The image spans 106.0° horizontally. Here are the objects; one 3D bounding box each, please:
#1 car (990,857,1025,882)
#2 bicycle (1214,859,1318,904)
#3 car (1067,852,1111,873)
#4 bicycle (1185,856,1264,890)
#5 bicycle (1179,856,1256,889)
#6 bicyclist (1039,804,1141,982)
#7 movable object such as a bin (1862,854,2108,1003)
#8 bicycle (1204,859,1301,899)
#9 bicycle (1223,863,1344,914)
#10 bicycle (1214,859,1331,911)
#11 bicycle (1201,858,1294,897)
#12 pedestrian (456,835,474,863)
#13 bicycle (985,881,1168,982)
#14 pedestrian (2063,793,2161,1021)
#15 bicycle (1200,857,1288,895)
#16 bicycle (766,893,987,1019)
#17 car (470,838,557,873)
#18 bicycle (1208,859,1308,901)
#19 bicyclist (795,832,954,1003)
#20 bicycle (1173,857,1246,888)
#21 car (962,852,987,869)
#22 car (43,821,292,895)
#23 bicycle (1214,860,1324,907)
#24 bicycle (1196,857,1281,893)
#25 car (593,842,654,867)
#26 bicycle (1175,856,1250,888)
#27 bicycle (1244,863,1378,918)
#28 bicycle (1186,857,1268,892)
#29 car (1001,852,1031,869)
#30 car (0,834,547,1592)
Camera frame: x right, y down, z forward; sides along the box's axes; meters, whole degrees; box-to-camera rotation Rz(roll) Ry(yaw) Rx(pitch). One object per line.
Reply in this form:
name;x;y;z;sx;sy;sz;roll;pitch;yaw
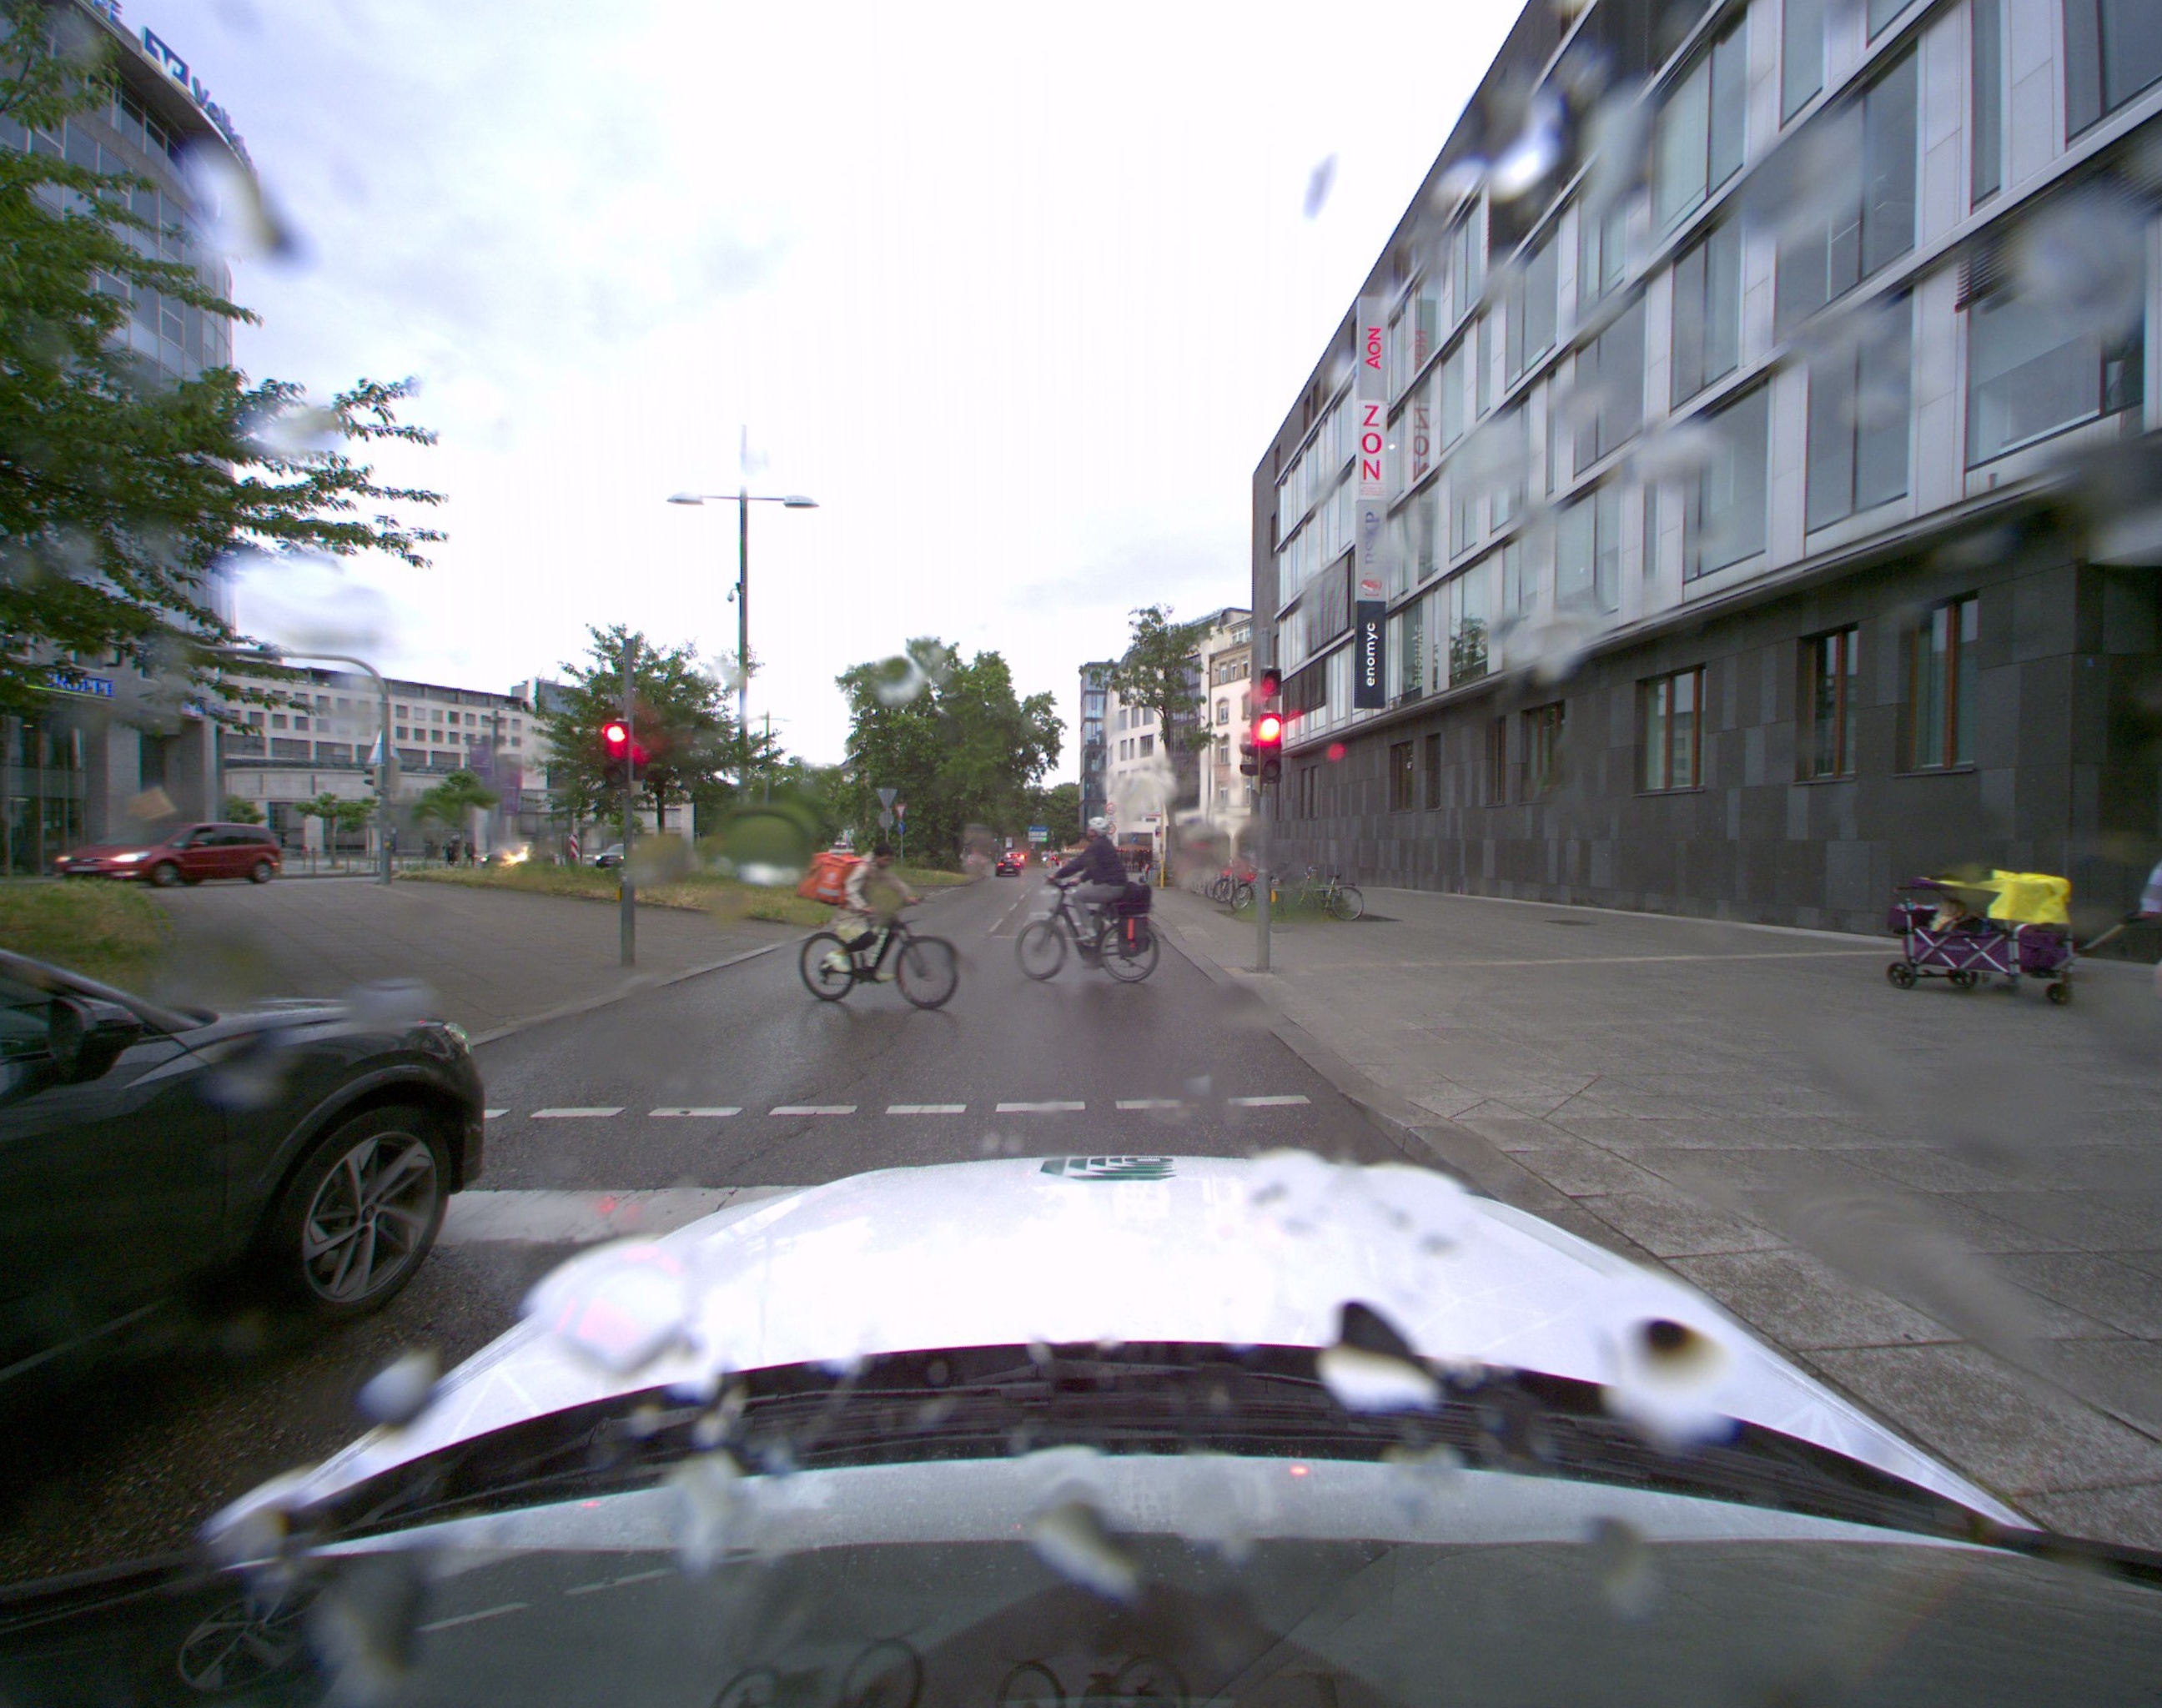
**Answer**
car;-5.567;1.130;60.966;2.163;1.706;4.537;0;0;-11
bicycle;4.721;0.688;20.850;2.530;1.087;0.677;-1;0;-3
car;0.741;0.791;76.670;3.978;1.647;1.998;4;0;-3
bicycle;4.778;0.637;27.206;2.530;1.087;0.677;-1;0;-3
bicycle;4.682;0.626;28.098;2.530;1.087;0.677;-1;0;-3
bicyclist;0.127;0.462;10.003;1.074;2.083;0.766;-1;-1;14
movable object such as a bin;8.621;0.653;7.859;0.729;1.264;1.444;-2;0;-1
bicycle;4.723;0.686;22.528;2.530;1.060;0.677;-1;0;-3
bicycle;4.449;0.747;17.970;2.530;1.087;0.677;0;0;-3
bicycle;4.397;0.707;18.776;2.530;1.087;0.677;2;0;-3
bicycle;4.781;0.670;23.437;2.530;1.087;0.677;-1;0;-3
pedestrian;-39.671;-0.338;52.477;0.621;1.763;0.722;-2;0;-16
bicycle;-0.039;0.917;10.042;2.111;1.145;0.766;-1;-1;13
pedestrian;8.921;0.399;6.483;0.898;1.792;1.045;-2;0;-4
bicycle;4.911;0.655;24.631;2.530;1.087;0.677;-1;0;-3
bicycle;-2.118;0.987;8.424;2.041;1.114;1.018;-1;-2;28
car;-26.493;0.055;38.178;1.805;1.486;3.985;2;0;-11
bicycle;4.690;0.684;21.662;2.530;1.087;0.677;-1;0;-3
bicyclist;-2.111;0.603;8.406;1.122;1.582;1.021;2;0;28
bicycle;4.647;0.648;29.569;2.530;1.087;0.627;-1;0;-3
car;-10.717;0.647;81.862;1.949;1.646;4.222;0;0;-16
car;-23.585;0.085;21.350;1.723;1.727;4.572;0;0;-7
bicycle;4.595;0.709;19.998;2.530;1.087;0.677;-1;0;-3
bicycle;4.931;0.653;25.610;2.530;1.087;0.677;-1;0;-3
car;-28.670;0.024;51.155;1.803;1.486;4.372;2;0;-8
bicycle;4.659;0.639;28.846;2.530;1.087;0.677;-1;0;-3
bicycle;4.628;0.734;16.488;2.530;1.057;0.677;0;0;-3
bicycle;4.719;0.653;26.455;2.530;1.087;0.677;-1;0;-3
car;-6.563;0.619;82.335;2.185;1.700;3.976;0;0;-18
car;-3.217;0.764;1.396;1.843;1.616;4.250;1;1;-1
